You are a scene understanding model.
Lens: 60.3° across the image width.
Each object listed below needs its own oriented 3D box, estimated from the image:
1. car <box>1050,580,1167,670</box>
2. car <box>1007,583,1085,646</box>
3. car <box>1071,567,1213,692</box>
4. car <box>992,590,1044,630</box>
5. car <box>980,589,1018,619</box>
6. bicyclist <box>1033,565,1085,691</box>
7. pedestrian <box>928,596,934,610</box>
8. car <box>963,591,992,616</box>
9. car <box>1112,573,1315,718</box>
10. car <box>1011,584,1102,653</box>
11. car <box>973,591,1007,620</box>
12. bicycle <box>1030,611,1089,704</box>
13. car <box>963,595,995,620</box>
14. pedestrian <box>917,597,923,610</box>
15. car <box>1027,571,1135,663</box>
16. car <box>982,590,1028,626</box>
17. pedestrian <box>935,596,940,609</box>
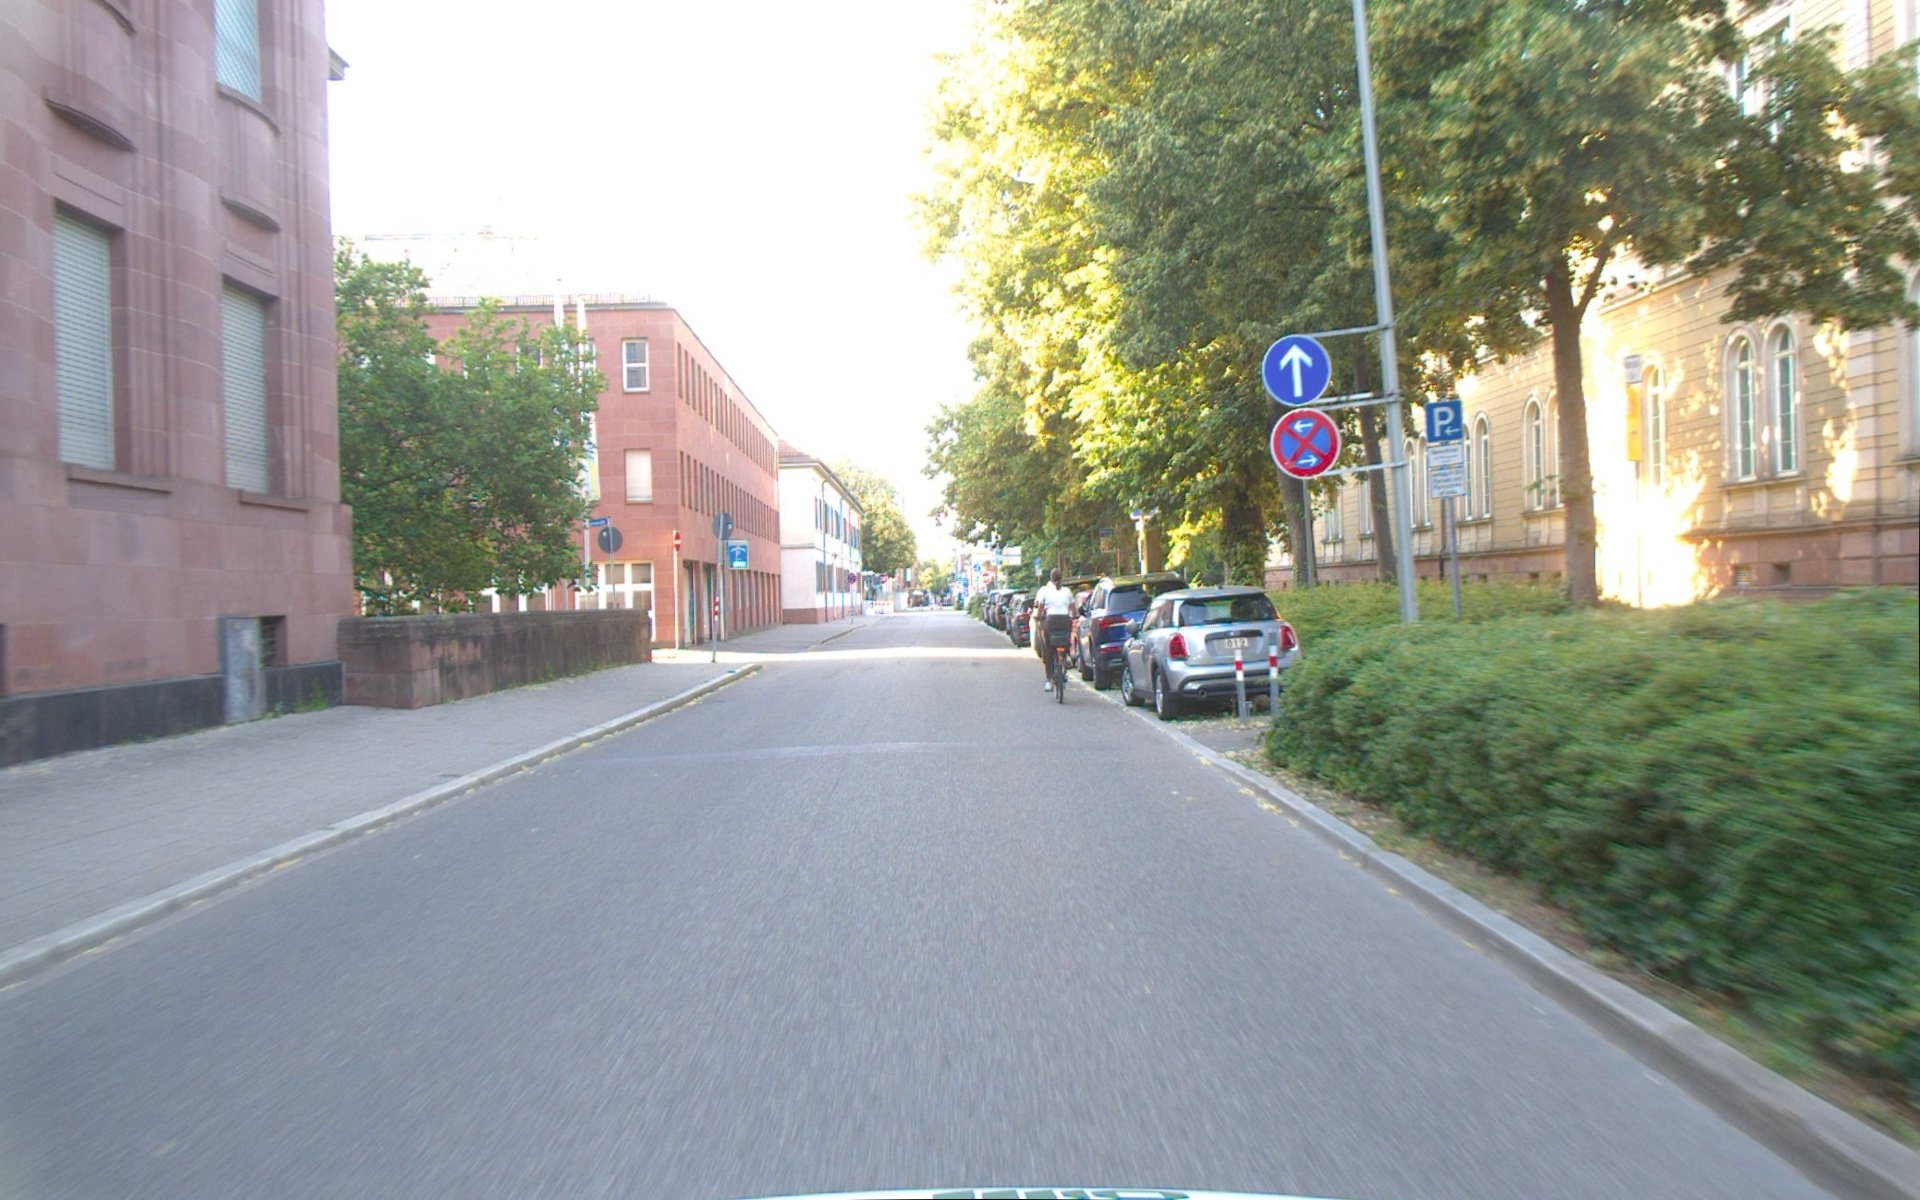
[{"bbox_3d":[2.808,0.438,31.959,1.681,1.564,4.046,-2,0,-3],"label":"car"},{"bbox_3d":[2.531,0.403,49.523,1.953,1.735,3.999,-2,0,-2],"label":"car"},{"bbox_3d":[2.792,0.414,26.221,1.680,1.742,4.472,-2,0,0],"label":"car"},{"bbox_3d":[2.487,0.406,71.740,1.953,1.612,3.999,-2,0,-2],"label":"car"},{"bbox_3d":[2.238,0.213,96.792,1.953,1.657,3.999,-2,0,-2],"label":"car"},{"bbox_3d":[1.358,0.374,22.760,0.626,1.696,0.842,0,0,-3],"label":"bicyclist"},{"bbox_3d":[-3.283,0.337,186.910,0.523,1.497,0.448,-2,0,-3],"label":"pedestrian"},{"bbox_3d":[1.657,0.347,158.055,2.443,2.234,4.908,-2,0,-2],"label":"car"},{"bbox_3d":[2.952,0.519,19.985,1.652,1.472,3.670,-4,-1,-2],"label":"car"},{"bbox_3d":[2.455,0.444,42.906,1.953,1.624,3.999,-2,0,-2],"label":"car"},{"bbox_3d":[1.943,0.344,107.763,1.953,1.779,3.999,-2,0,-2],"label":"car"},{"bbox_3d":[1.353,0.769,22.833,0.625,1.214,1.875,0,0,-2],"label":"bicycle"},{"bbox_3d":[1.442,0.581,129.954,2.235,1.886,4.908,-2,0,-2],"label":"car"},{"bbox_3d":[-4.571,0.396,189.120,0.523,1.497,0.448,-2,0,-3],"label":"pedestrian"},{"bbox_3d":[2.633,0.355,36.887,1.953,1.847,3.999,-2,0,-2],"label":"car"},{"bbox_3d":[2.198,0.369,81.763,1.953,1.657,3.999,-2,0,-2],"label":"car"},{"bbox_3d":[-2.538,0.309,186.915,0.523,1.497,0.448,-2,0,-3],"label":"pedestrian"}]
